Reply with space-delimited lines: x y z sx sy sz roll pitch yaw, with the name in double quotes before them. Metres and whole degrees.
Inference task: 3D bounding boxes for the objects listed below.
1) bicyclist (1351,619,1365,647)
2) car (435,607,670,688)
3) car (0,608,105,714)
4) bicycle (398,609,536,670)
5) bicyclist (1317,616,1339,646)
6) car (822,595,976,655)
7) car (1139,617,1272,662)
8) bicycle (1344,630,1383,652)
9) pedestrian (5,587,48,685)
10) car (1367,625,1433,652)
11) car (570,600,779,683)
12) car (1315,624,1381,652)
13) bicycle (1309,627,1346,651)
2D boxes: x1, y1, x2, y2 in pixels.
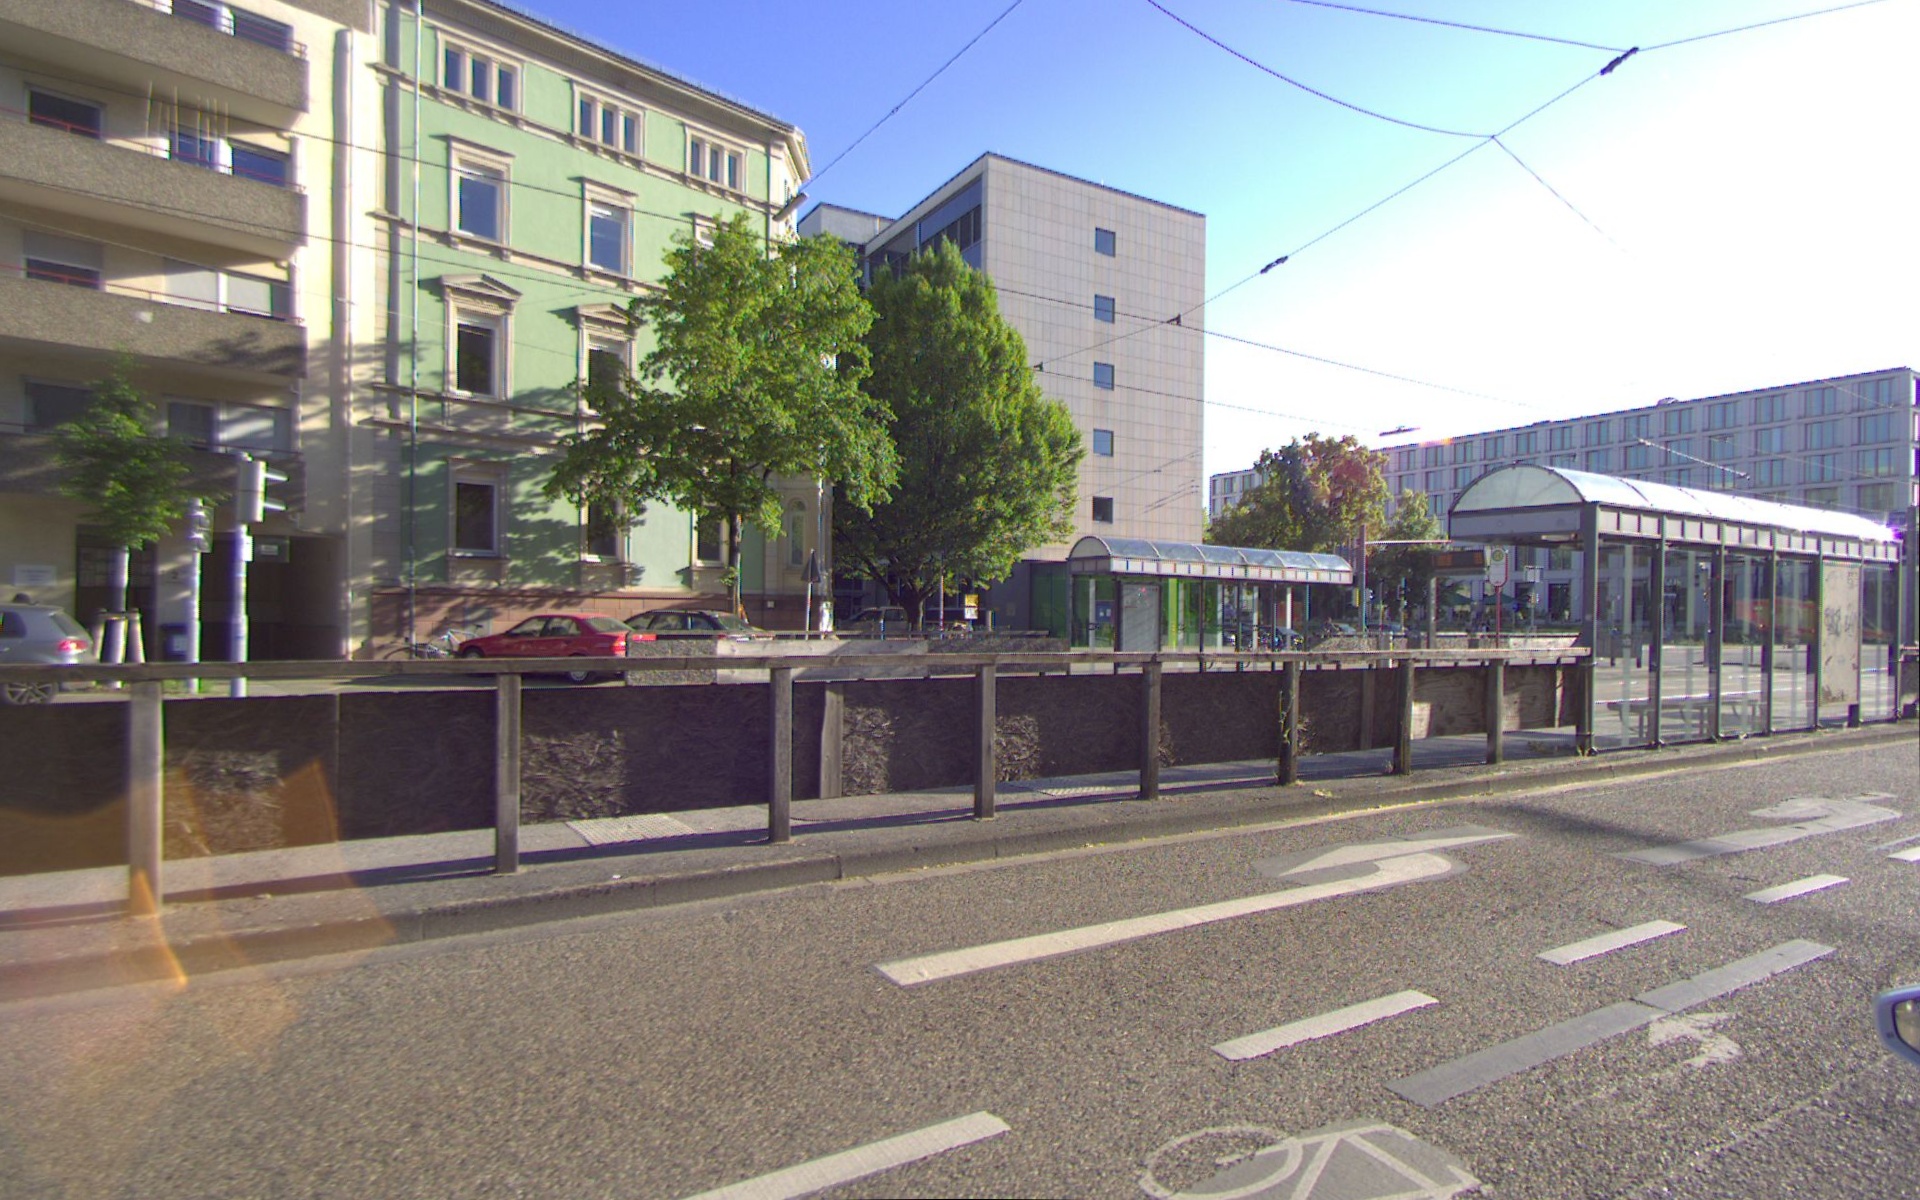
"bicyclist" 22.588 1.860 56.971 0.611 1.603 0.591 0 -1 38
"car" -8.693 0.969 21.496 4.425 1.444 1.874 2 0 17
"car" -14.867 0.853 14.142 4.256 1.429 1.692 1 1 -40
"bicycle" -12.071 0.945 24.718 0.709 1.416 2.992 0 -1 44
"bicyclist" 21.479 1.811 58.588 0.833 1.717 0.887 1 -1 -25
"car" -1.869 0.735 30.358 4.432 1.590 1.588 2 0 28
"car" 8.920 1.409 36.606 4.432 1.368 1.588 2 0 28
"bicycle" 22.813 2.311 56.835 1.900 1.137 0.786 0 -1 39
"pedestrian" -16.519 0.630 17.780 0.486 1.694 0.507 1 0 -38
"car" 27.228 2.344 62.213 1.506 1.526 3.511 1 0 -32
"car" -6.614 0.927 23.366 4.424 1.663 1.591 2 0 14
"car" 23.544 2.281 61.044 1.506 1.526 3.511 1 0 -32
"bicycle" 21.467 2.264 58.678 0.874 1.305 2.042 1 -1 -24
